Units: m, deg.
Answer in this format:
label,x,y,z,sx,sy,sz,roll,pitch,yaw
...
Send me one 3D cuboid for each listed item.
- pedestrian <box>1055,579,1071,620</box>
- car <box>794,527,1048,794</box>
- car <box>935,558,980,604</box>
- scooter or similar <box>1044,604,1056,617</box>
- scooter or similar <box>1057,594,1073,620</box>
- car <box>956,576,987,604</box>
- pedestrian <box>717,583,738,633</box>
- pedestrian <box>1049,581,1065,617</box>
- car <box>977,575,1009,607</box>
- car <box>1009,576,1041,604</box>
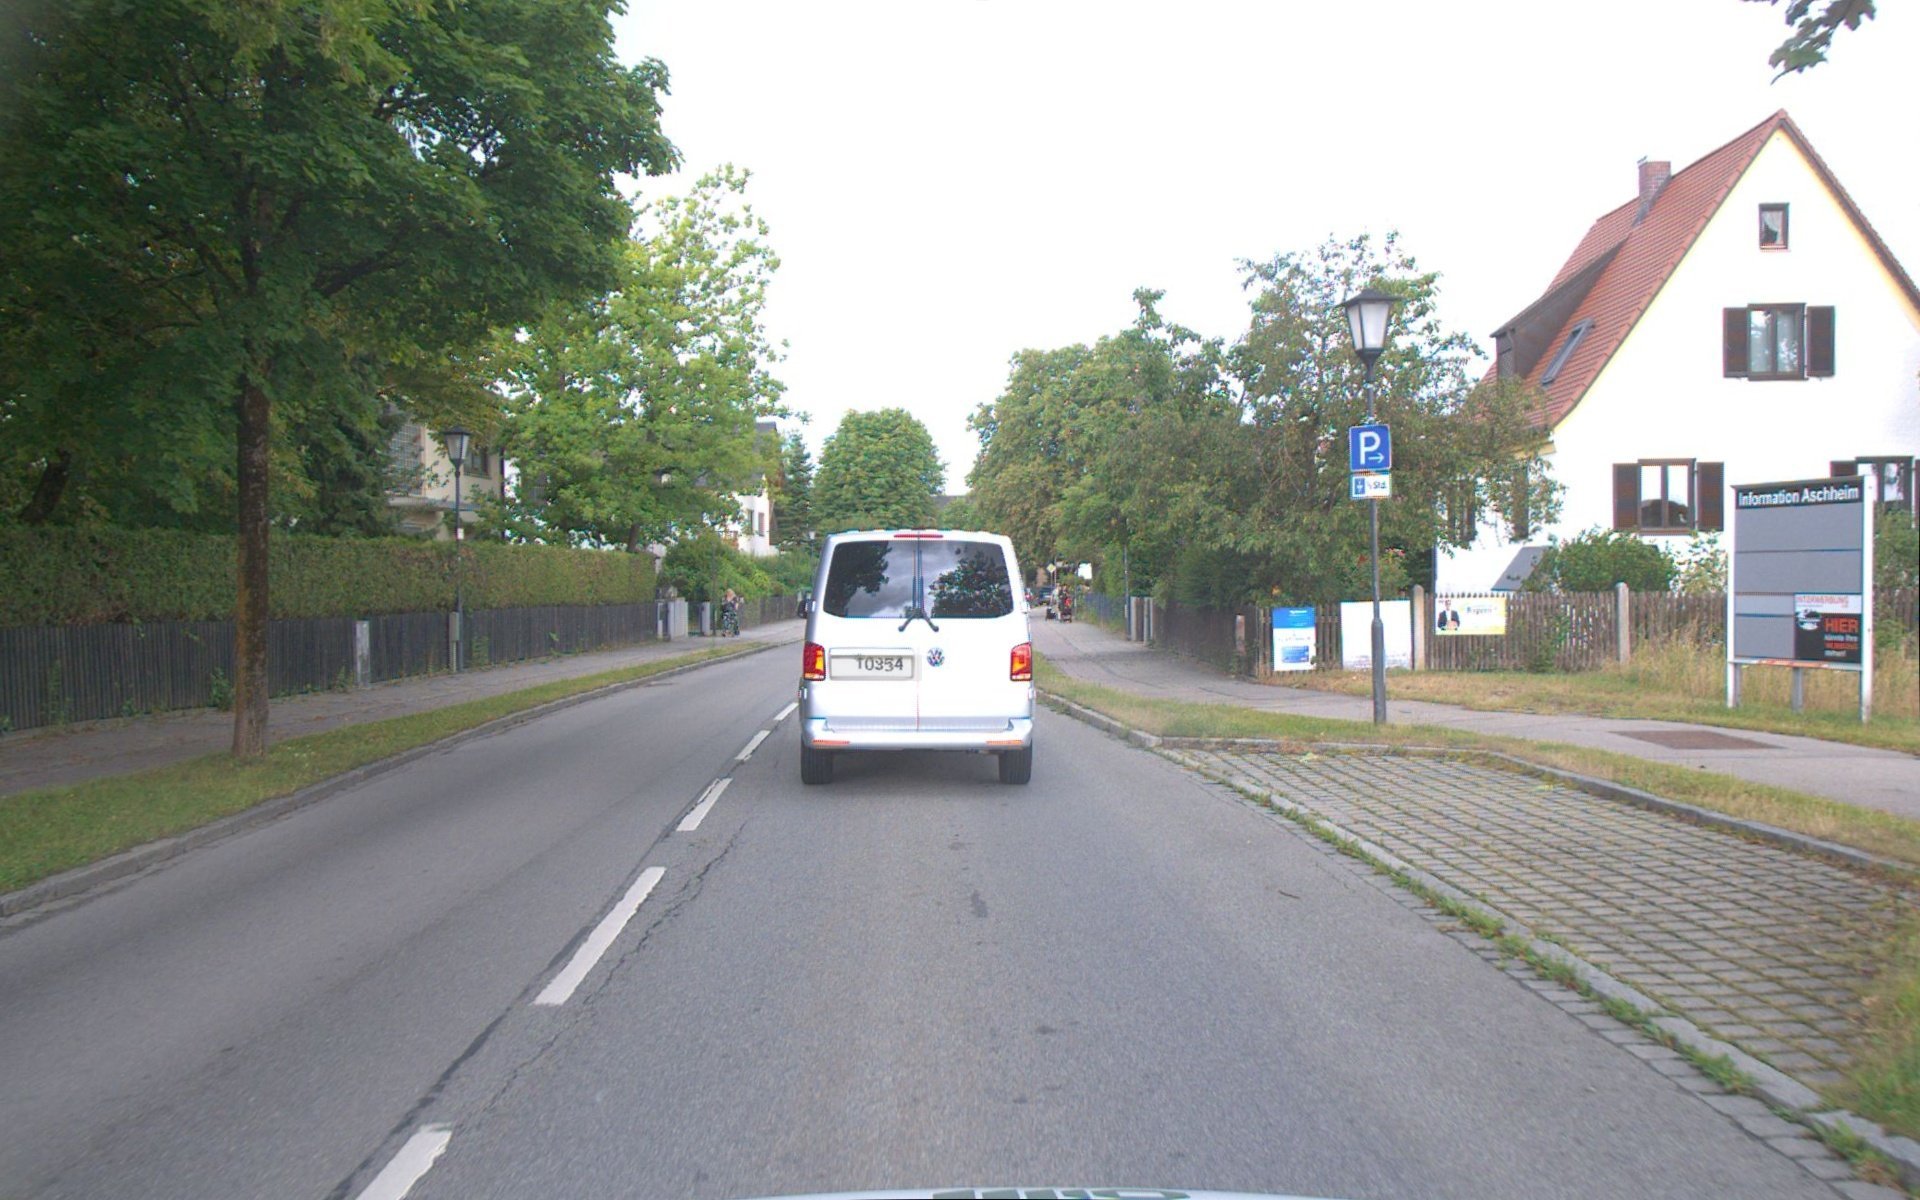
label,x,y,z,sx,sy,sz,roll,pitch,yaw
pedestrian,4.038,-0.022,64.819,0.540,1.576,0.611,1,0,-3
car,-0.272,0.431,14.093,1.849,1.945,4.000,0,0,0
car,-0.109,-0.890,77.675,1.952,2.049,4.001,1,0,2
scooter or similar,3.928,0.470,72.146,0.465,0.554,0.458,1,0,-3
scooter or similar,4.064,0.279,64.087,0.540,0.988,0.620,1,0,-3
car,0.845,-0.766,123.124,1.951,2.049,4.003,-1,0,5
pedestrian,-7.429,0.247,52.834,0.610,1.576,0.522,1,0,-3
pedestrian,4.195,-0.043,71.477,0.610,1.550,0.579,1,0,-3
car,2.235,-0.623,112.534,1.952,2.049,4.002,-1,0,4
car,4.894,-0.762,123.965,1.951,2.049,4.003,-1,0,7
